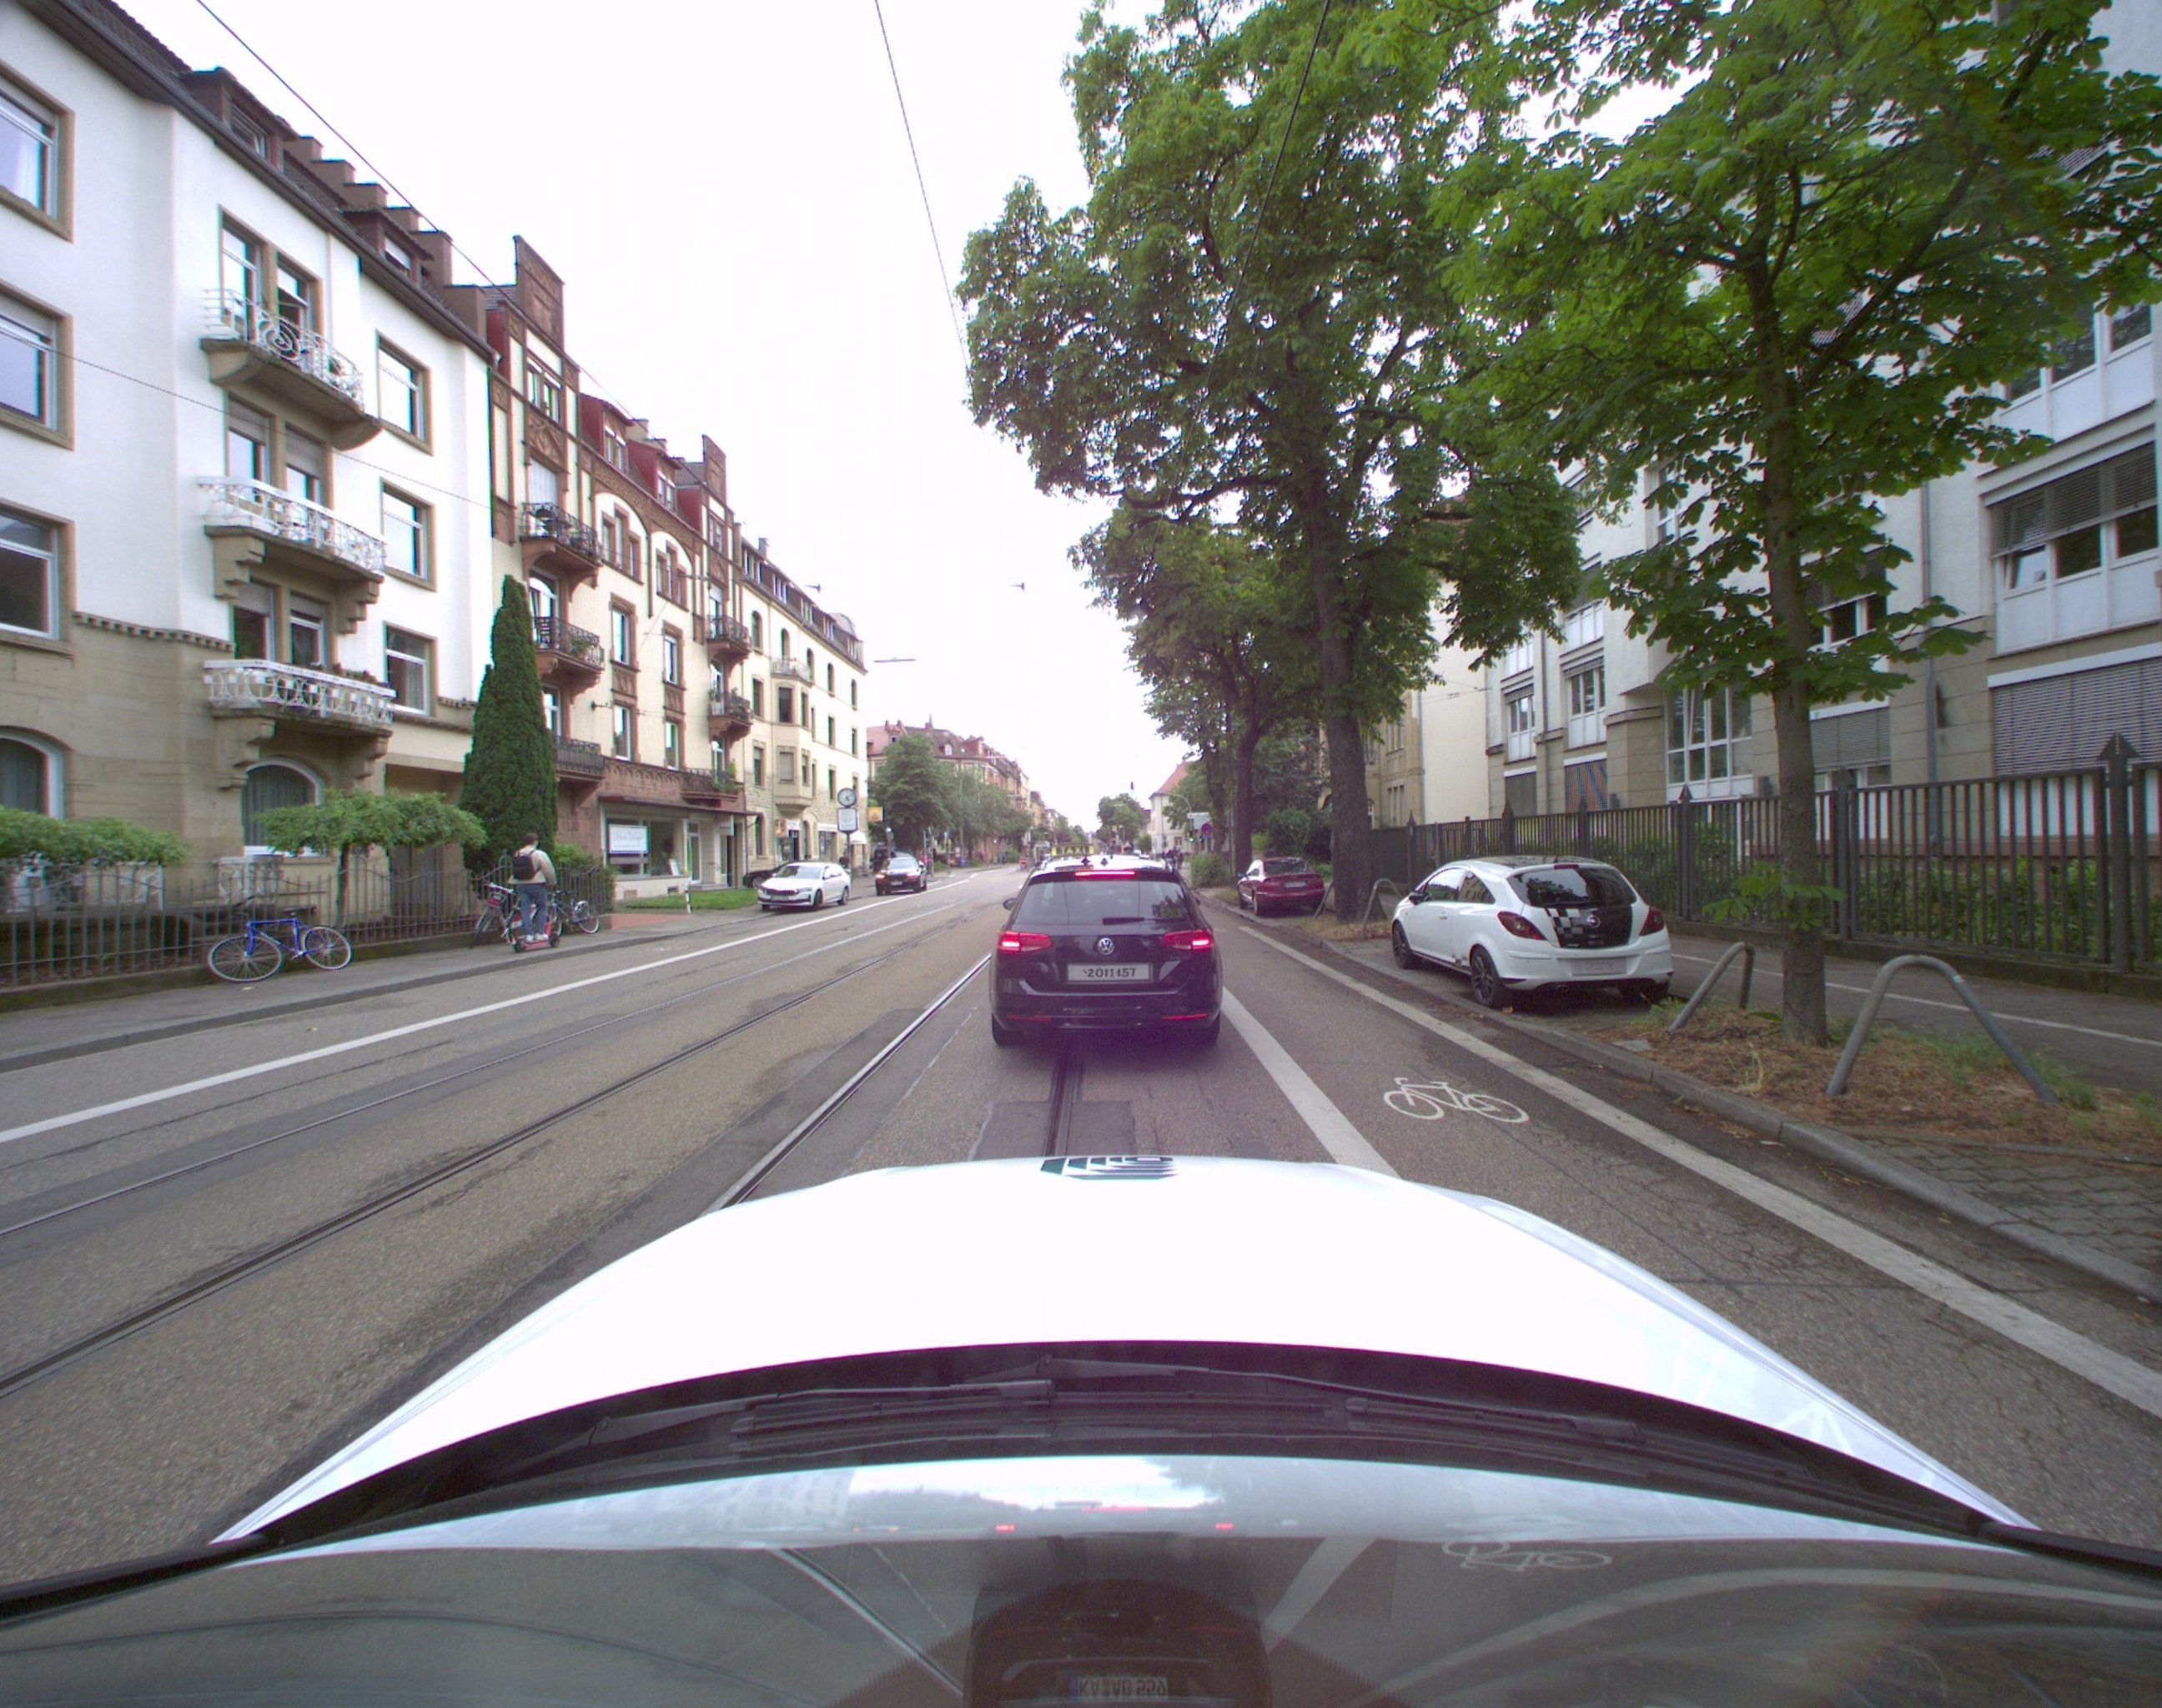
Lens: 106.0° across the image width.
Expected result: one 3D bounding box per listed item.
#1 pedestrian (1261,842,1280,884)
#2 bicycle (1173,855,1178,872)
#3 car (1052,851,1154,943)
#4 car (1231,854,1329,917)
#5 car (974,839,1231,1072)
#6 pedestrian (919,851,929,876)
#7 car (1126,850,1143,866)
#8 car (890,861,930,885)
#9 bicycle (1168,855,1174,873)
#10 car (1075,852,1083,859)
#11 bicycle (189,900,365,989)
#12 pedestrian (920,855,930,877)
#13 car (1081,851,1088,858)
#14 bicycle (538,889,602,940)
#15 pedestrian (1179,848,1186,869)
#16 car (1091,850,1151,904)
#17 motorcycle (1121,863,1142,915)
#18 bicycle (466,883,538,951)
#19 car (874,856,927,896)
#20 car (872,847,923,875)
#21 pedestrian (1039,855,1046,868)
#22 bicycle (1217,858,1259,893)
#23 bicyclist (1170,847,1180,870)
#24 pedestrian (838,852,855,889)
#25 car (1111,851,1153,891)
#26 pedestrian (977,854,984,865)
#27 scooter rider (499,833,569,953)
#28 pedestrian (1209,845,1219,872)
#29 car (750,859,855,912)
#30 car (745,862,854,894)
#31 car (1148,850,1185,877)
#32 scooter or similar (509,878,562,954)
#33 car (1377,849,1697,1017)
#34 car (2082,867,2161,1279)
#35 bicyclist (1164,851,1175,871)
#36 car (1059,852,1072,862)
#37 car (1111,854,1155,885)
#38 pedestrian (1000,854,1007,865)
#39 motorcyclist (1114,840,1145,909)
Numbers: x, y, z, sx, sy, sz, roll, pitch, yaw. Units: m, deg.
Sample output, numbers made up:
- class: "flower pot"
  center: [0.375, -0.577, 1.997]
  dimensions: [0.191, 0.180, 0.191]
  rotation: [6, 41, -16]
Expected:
- class: "pedestrian"
  center: [8.389, 0.401, 36.145]
  dimensions: [0.630, 1.815, 0.726]
  rotation: [-2, 0, -1]
- class: "bicycle"
  center: [6.764, 0.667, 58.184]
  dimensions: [0.295, 1.223, 1.434]
  rotation: [-2, 0, 9]
- class: "car"
  center: [0.443, 0.736, 16.006]
  dimensions: [1.717, 1.546, 4.002]
  rotation: [-1, 0, 2]
- class: "car"
  center: [5.092, 0.751, 21.407]
  dimensions: [1.596, 1.399, 4.229]
  rotation: [-3, 0, 2]
- class: "car"
  center: [0.208, 0.682, 7.516]
  dimensions: [1.717, 1.546, 4.002]
  rotation: [-1, 0, 2]
- class: "pedestrian"
  center: [-11.616, 0.672, 60.247]
  dimensions: [0.621, 1.842, 0.609]
  rotation: [-2, 0, -1]
- class: "car"
  center: [7.100, 0.549, 108.170]
  dimensions: [2.025, 2.014, 4.001]
  rotation: [0, -1, 2]
- class: "car"
  center: [-10.595, 1.170, 50.822]
  dimensions: [1.644, 1.361, 4.128]
  rotation: [1, 0, -1]
- class: "bicycle"
  center: [6.107, 0.703, 55.298]
  dimensions: [0.251, 1.196, 1.160]
  rotation: [-2, 0, 10]
- class: "car"
  center: [-0.400, 0.381, 187.997]
  dimensions: [1.715, 1.622, 3.864]
  rotation: [-2, 0, 1]
- class: "bicycle"
  center: [-10.817, 1.186, 11.048]
  dimensions: [0.356, 0.928, 1.663]
  rotation: [-20, 0, 4]
- class: "pedestrian"
  center: [-11.994, 0.924, 62.543]
  dimensions: [0.587, 1.663, 0.839]
  rotation: [-2, 0, -2]
- class: "car"
  center: [0.875, 0.133, 221.373]
  dimensions: [1.715, 1.622, 3.864]
  rotation: [-2, 0, 1]
- class: "bicycle"
  center: [-10.706, 1.247, 17.118]
  dimensions: [0.331, 0.938, 1.515]
  rotation: [-2, 0, 1]
- class: "pedestrian"
  center: [7.593, 0.335, 61.177]
  dimensions: [0.447, 1.562, 0.480]
  rotation: [-2, 0, 9]
- class: "car"
  center: [1.215, 0.656, 25.430]
  dimensions: [1.717, 1.546, 4.002]
  rotation: [-1, 0, 2]
- class: "motorcycle"
  center: [1.273, 0.856, 20.649]
  dimensions: [0.445, 1.235, 1.907]
  rotation: [-2, 0, 2]
- class: "bicycle"
  center: [-10.548, 1.119, 14.885]
  dimensions: [0.385, 1.102, 1.620]
  rotation: [-2, 0, -10]
- class: "car"
  center: [-8.395, 0.968, 38.265]
  dimensions: [1.881, 1.611, 4.875]
  rotation: [-4, 0, -7]
- class: "car"
  center: [-16.568, 0.655, 73.522]
  dimensions: [2.197, 2.417, 5.316]
  rotation: [-1, 0, -41]
- class: "pedestrian"
  center: [-4.536, 0.846, 96.216]
  dimensions: [0.711, 1.520, 0.590]
  rotation: [-2, 0, 3]
- class: "bicycle"
  center: [5.549, 0.745, 28.699]
  dimensions: [1.915, 1.198, 0.428]
  rotation: [0, -1, -43]
- class: "bicyclist"
  center: [6.711, 0.314, 58.200]
  dimensions: [0.647, 1.568, 0.697]
  rotation: [-2, 0, 8]
- class: "pedestrian"
  center: [-11.886, 0.815, 41.338]
  dimensions: [0.667, 1.844, 0.880]
  rotation: [-2, 0, -8]
- class: "car"
  center: [2.072, 0.680, 33.612]
  dimensions: [1.600, 1.556, 3.579]
  rotation: [0, -1, 2]
- class: "pedestrian"
  center: [-13.631, 0.773, 110.639]
  dimensions: [0.582, 1.520, 0.653]
  rotation: [-2, 0, 37]
- class: "scooter rider"
  center: [-9.488, 0.654, 14.146]
  dimensions: [0.639, 2.013, 0.758]
  rotation: [-2, 0, 1]
- class: "pedestrian"
  center: [9.410, 0.323, 57.561]
  dimensions: [0.510, 1.831, 0.420]
  rotation: [-5, 0, 18]
- class: "car"
  center: [-8.924, 0.948, 26.558]
  dimensions: [1.741, 1.484, 4.609]
  rotation: [-2, 0, 1]
- class: "car"
  center: [-13.063, 1.099, 38.025]
  dimensions: [4.415, 1.370, 1.878]
  rotation: [1, 0, -3]
- class: "car"
  center: [5.352, 0.592, 51.462]
  dimensions: [1.986, 1.577, 4.001]
  rotation: [0, -1, 2]
- class: "scooter or similar"
  center: [-9.469, 1.054, 14.155]
  dimensions: [0.230, 1.234, 0.954]
  rotation: [-2, 0, 2]
- class: "car"
  center: [4.827, 0.710, 9.287]
  dimensions: [1.596, 1.435, 3.779]
  rotation: [-3, 0, 3]
- class: "car"
  center: [4.531, 0.741, 1.149]
  dimensions: [1.621, 1.435, 3.766]
  rotation: [-3, 0, 2]
- class: "bicyclist"
  center: [6.043, 0.467, 55.359]
  dimensions: [0.647, 1.302, 0.697]
  rotation: [-2, 0, 9]
- class: "car"
  center: [-2.792, 0.531, 147.033]
  dimensions: [1.985, 1.791, 4.004]
  rotation: [0, -1, 4]
- class: "car"
  center: [2.729, 0.750, 41.768]
  dimensions: [1.881, 1.408, 4.009]
  rotation: [-2, 0, 8]
- class: "pedestrian"
  center: [-10.895, 0.759, 114.361]
  dimensions: [0.582, 1.520, 0.653]
  rotation: [-2, 0, 37]
- class: "motorcyclist"
  center: [1.223, 0.517, 20.651]
  dimensions: [0.700, 1.692, 0.805]
  rotation: [-2, 0, 1]
